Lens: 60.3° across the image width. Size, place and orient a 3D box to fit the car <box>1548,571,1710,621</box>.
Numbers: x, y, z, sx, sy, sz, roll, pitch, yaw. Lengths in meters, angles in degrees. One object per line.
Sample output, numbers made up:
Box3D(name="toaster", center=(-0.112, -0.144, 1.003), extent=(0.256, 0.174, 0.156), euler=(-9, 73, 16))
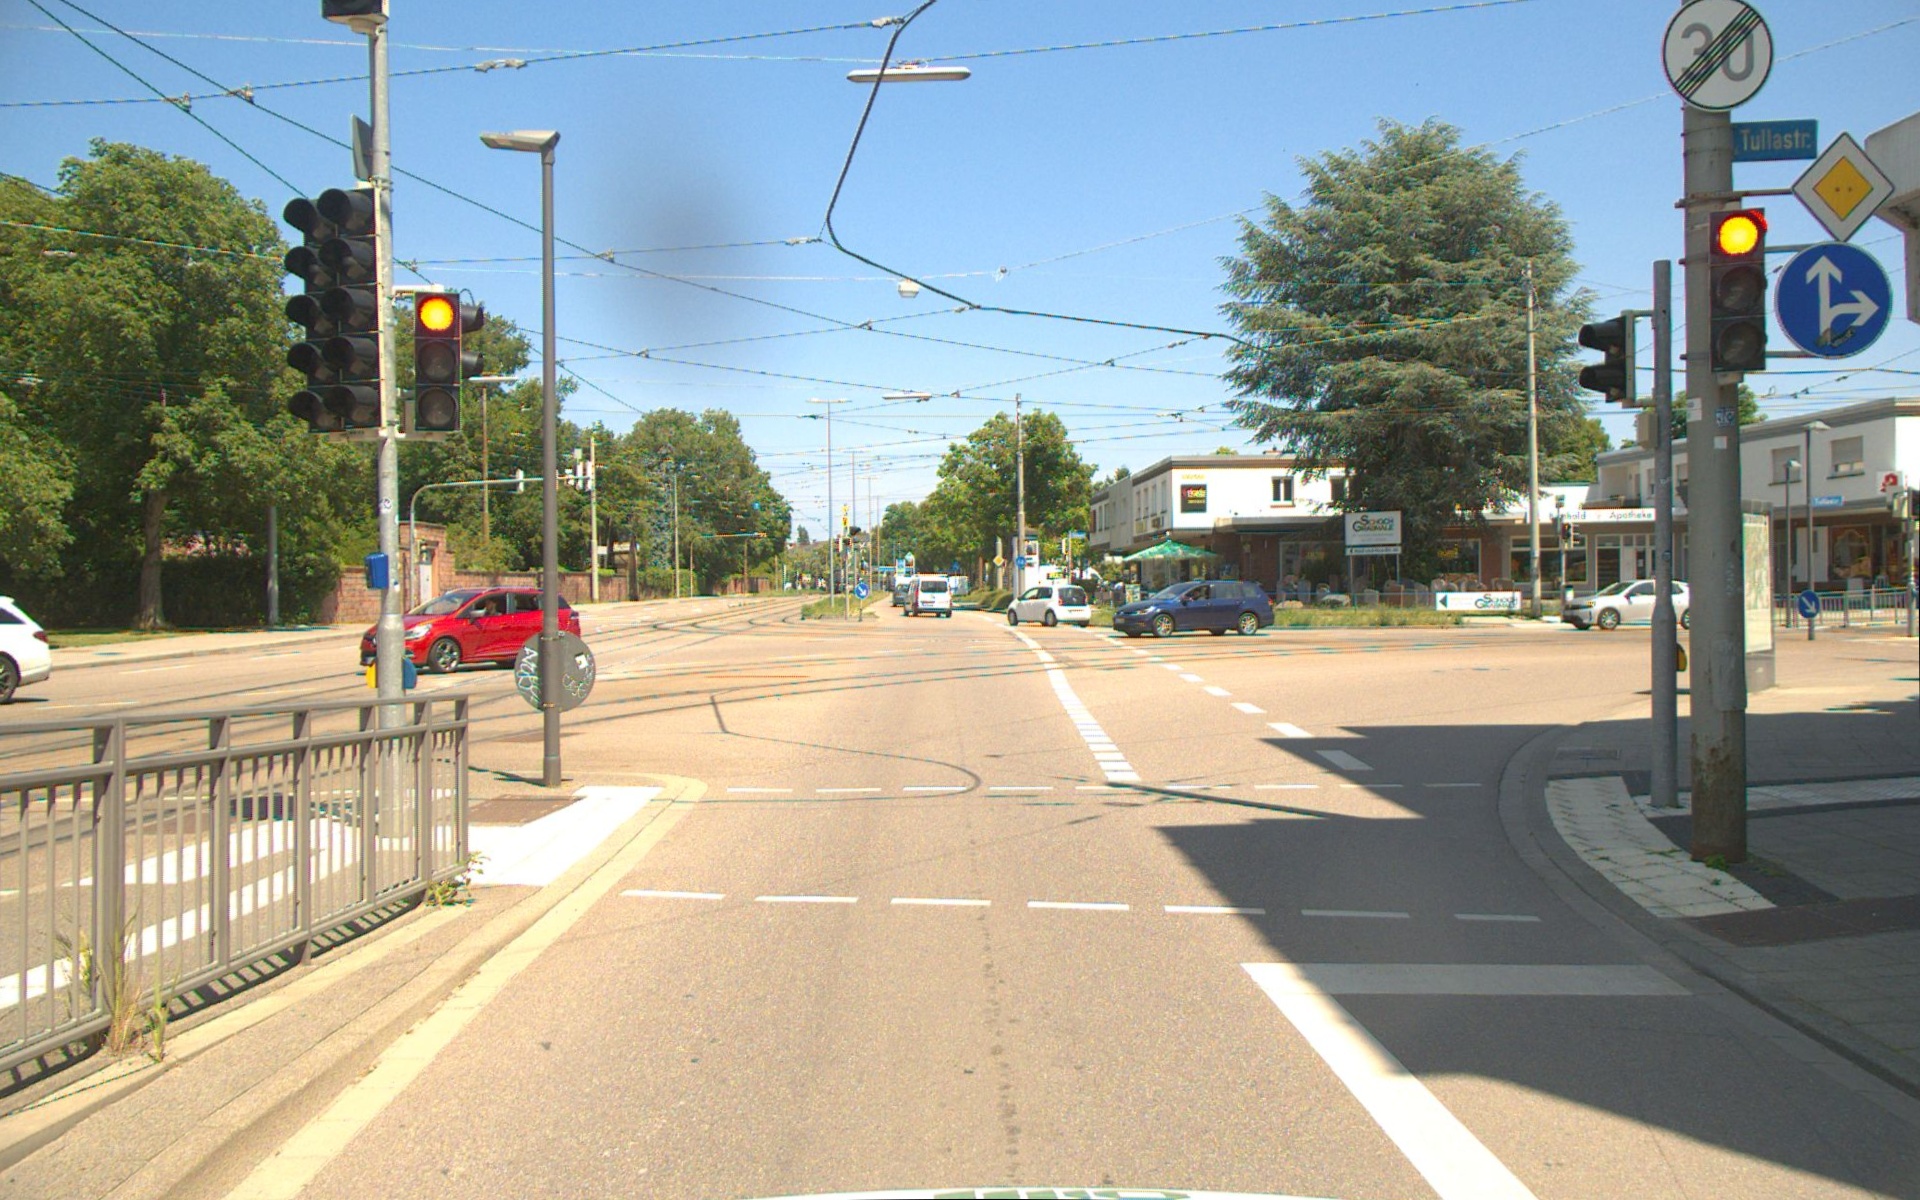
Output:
Box3D(name="car", center=(19.302, -0.128, 47.793), extent=(3.958, 1.386, 1.823), euler=(-1, 0, -3))

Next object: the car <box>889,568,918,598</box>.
Box3D(name="car", center=(-4.060, -1.226, 119.302), extent=(1.953, 2.049, 3.999), euler=(1, 0, -1))

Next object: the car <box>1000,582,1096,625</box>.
Box3D(name="car", center=(3.148, 0.116, 59.474), extent=(1.658, 1.460, 3.429), euler=(-1, 1, -36))

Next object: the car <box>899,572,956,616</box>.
Box3D(name="car", center=(-1.504, -0.281, 74.748), extent=(1.958, 1.892, 3.990), euler=(0, 1, -11))

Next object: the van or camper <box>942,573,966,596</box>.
Box3D(name="van or camper", center=(-0.480, -1.231, 130.742), extent=(1.883, 1.803, 3.999), euler=(-1, 1, -1))

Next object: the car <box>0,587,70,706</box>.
Box3D(name="car", center=(-13.436, 0.618, 20.010), extent=(1.781, 1.493, 4.623), euler=(0, 1, 22))

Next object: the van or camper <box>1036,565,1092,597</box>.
Box3D(name="van or camper", center=(9.035, -1.659, 143.906), extent=(4.662, 2.717, 2.134), euler=(-1, 0, -3))

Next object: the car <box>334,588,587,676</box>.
Box3D(name="car", center=(-8.878, 0.523, 29.691), extent=(1.787, 1.420, 4.161), euler=(0, 1, 35))

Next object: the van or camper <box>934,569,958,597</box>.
Box3D(name="van or camper", center=(-1.282, -1.552, 153.200), extent=(1.954, 2.507, 3.997), euler=(-1, 1, -4))

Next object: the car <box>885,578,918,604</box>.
Box3D(name="car", center=(-3.561, -0.536, 100.443), extent=(1.954, 1.478, 3.998), euler=(1, 0, -3))

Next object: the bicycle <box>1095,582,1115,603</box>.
Box3D(name="bicycle", center=(7.451, -0.384, 84.979), extent=(1.012, 1.032, 2.639), euler=(-1, 1, 5))

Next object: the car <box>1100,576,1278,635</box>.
Box3D(name="car", center=(6.095, 0.121, 44.001), extent=(4.402, 1.467, 1.850), euler=(-1, 1, -23))
